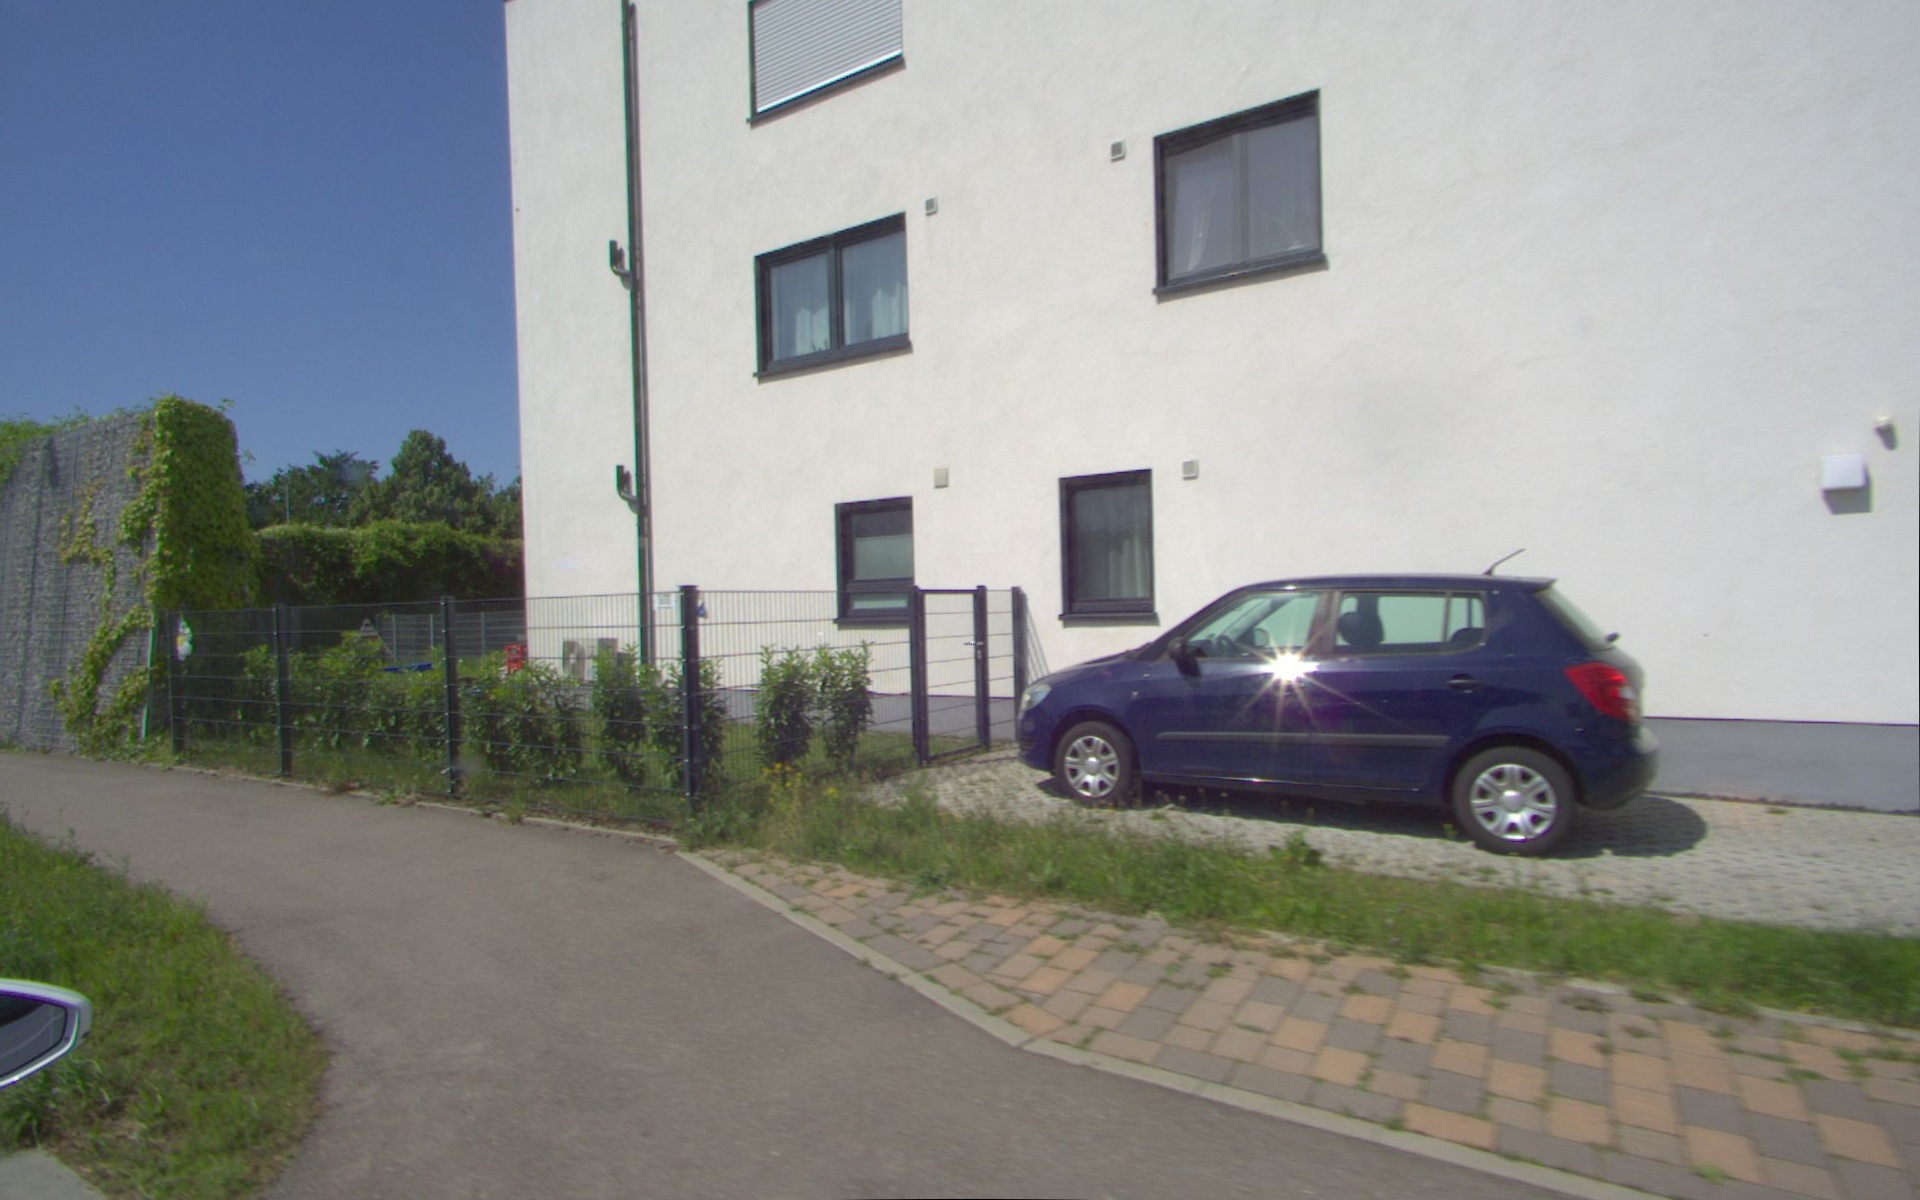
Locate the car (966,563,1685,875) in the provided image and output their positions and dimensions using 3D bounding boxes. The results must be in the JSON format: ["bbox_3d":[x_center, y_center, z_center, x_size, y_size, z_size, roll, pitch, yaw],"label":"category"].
[{"bbox_3d":[2.190,0.590,6.585,4.057,1.489,1.674,0,0,33],"label":"car"}]
